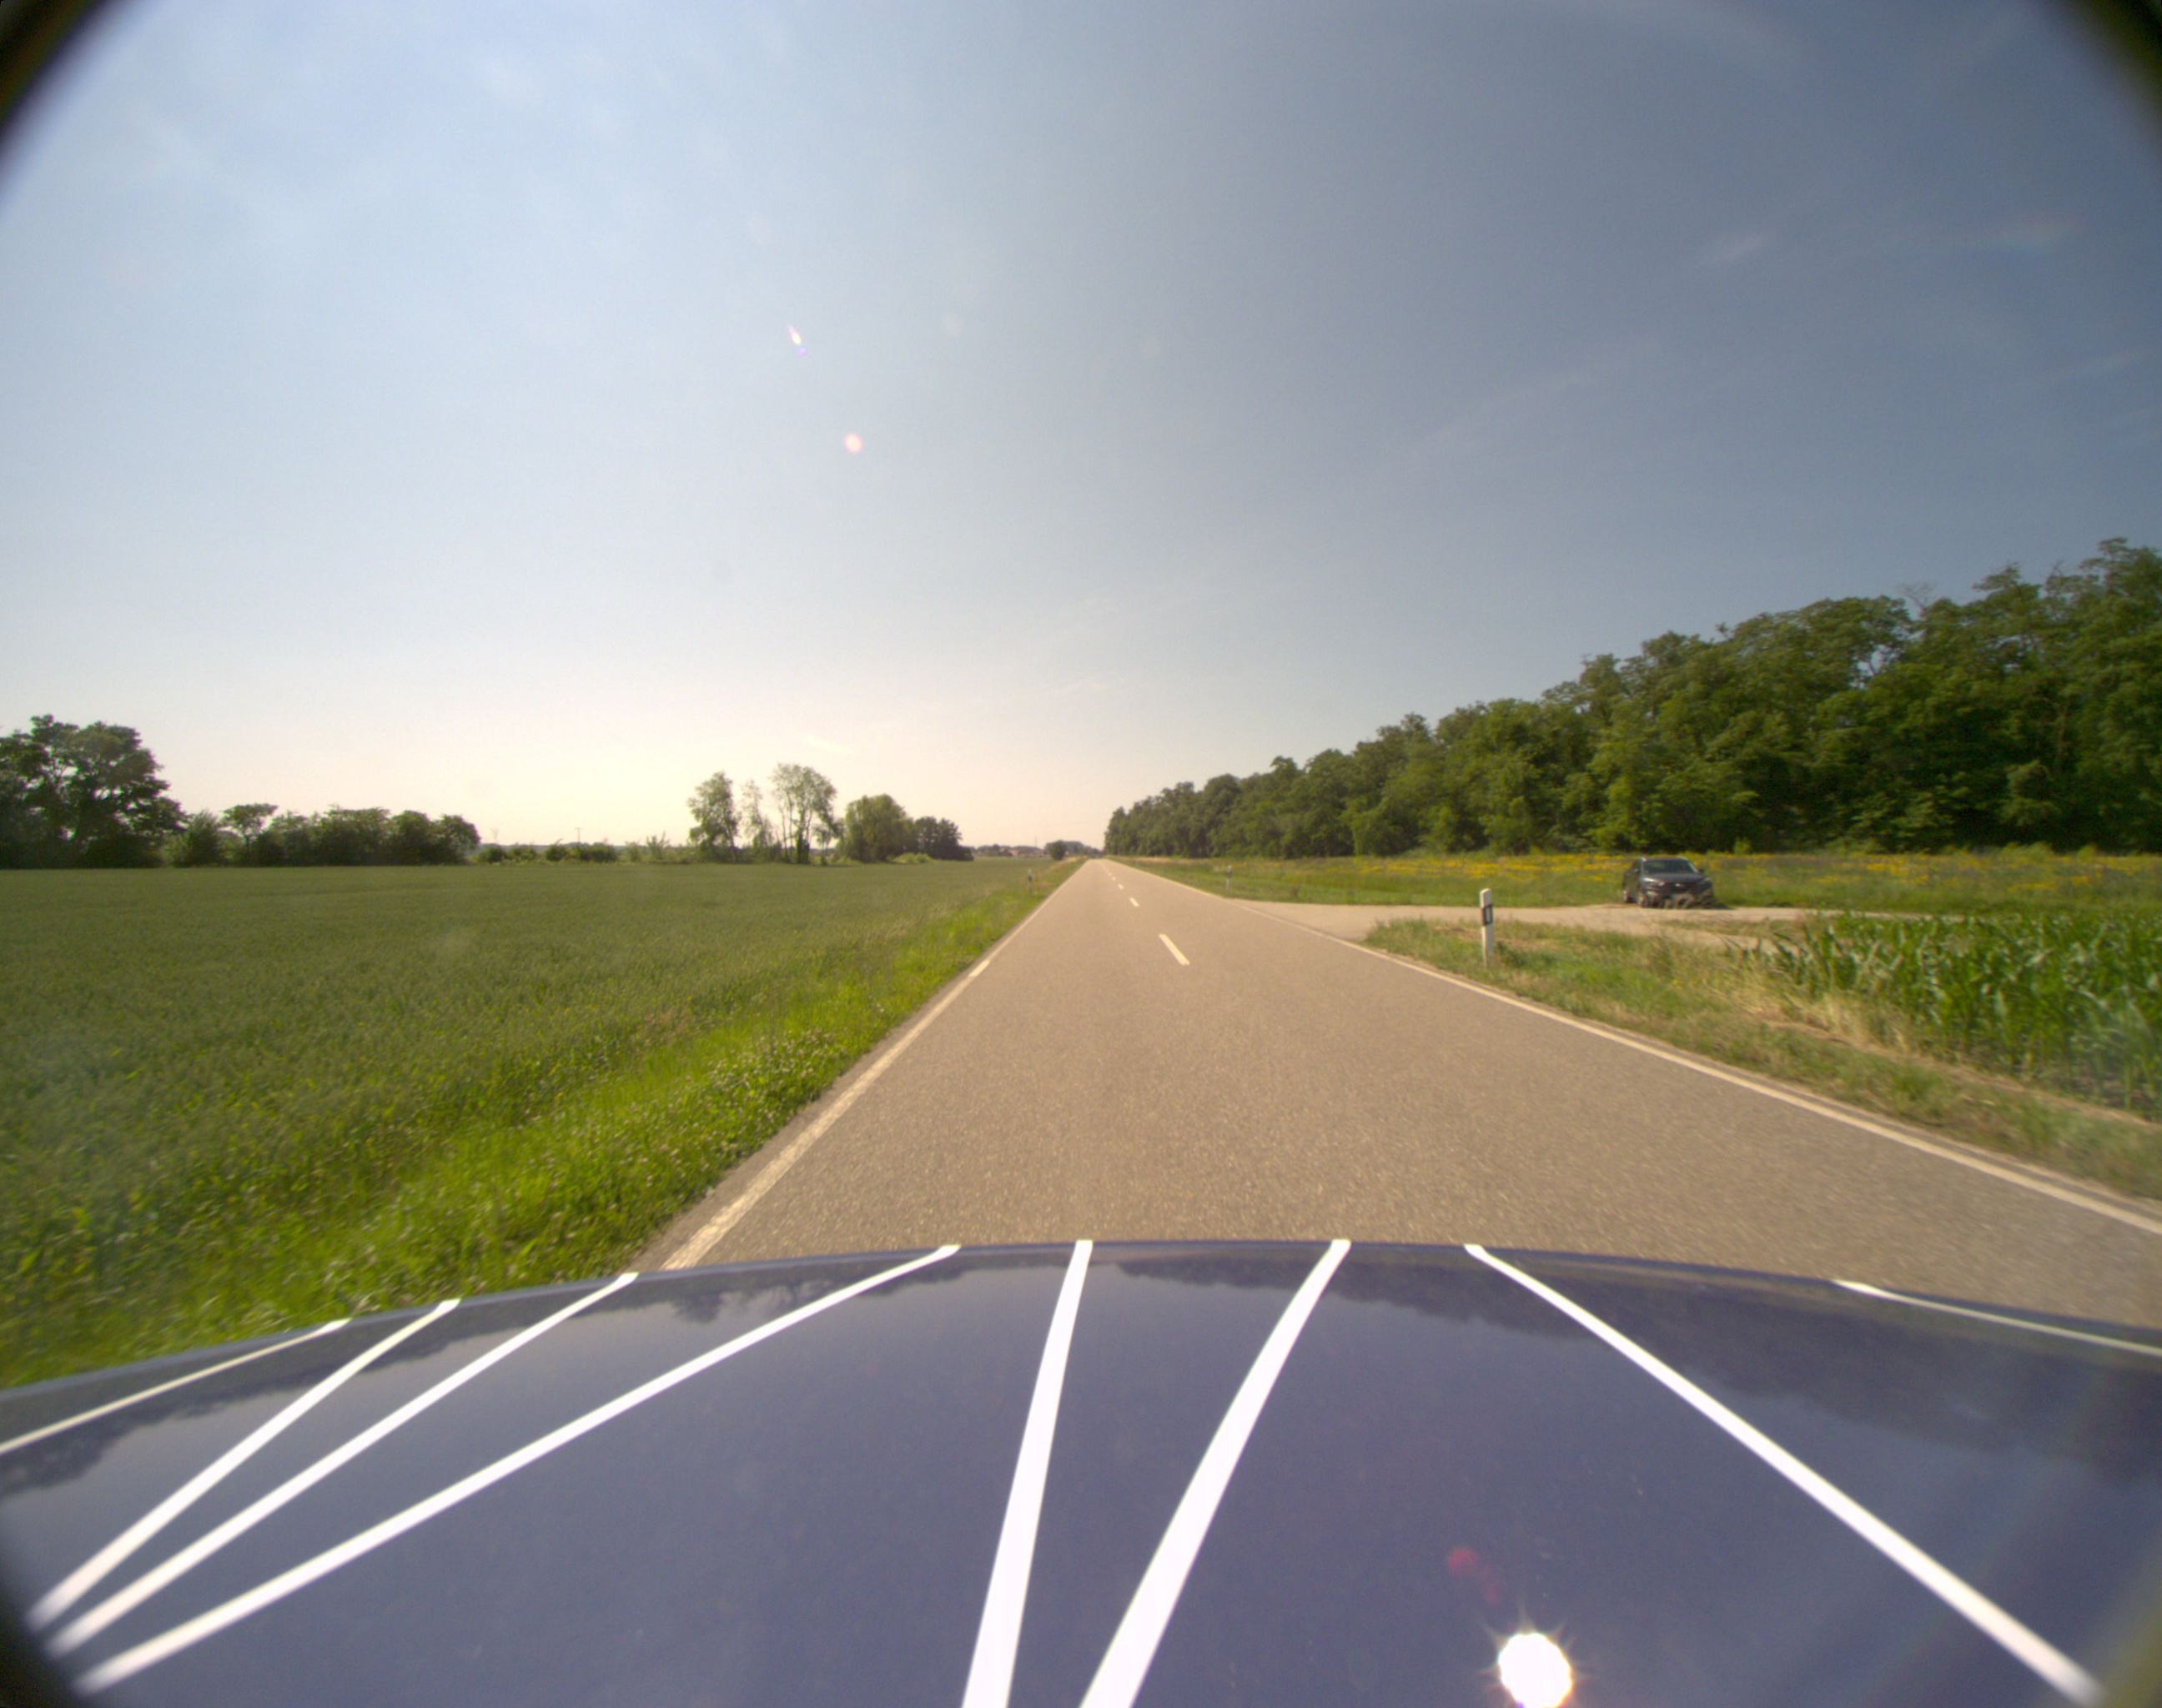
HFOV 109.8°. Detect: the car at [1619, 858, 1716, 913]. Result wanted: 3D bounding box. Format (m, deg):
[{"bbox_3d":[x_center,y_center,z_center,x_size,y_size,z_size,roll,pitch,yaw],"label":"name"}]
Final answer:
[{"bbox_3d":[19.556,0.966,25.536,1.754,1.641,4.538,0,0,27],"label":"car"}]
